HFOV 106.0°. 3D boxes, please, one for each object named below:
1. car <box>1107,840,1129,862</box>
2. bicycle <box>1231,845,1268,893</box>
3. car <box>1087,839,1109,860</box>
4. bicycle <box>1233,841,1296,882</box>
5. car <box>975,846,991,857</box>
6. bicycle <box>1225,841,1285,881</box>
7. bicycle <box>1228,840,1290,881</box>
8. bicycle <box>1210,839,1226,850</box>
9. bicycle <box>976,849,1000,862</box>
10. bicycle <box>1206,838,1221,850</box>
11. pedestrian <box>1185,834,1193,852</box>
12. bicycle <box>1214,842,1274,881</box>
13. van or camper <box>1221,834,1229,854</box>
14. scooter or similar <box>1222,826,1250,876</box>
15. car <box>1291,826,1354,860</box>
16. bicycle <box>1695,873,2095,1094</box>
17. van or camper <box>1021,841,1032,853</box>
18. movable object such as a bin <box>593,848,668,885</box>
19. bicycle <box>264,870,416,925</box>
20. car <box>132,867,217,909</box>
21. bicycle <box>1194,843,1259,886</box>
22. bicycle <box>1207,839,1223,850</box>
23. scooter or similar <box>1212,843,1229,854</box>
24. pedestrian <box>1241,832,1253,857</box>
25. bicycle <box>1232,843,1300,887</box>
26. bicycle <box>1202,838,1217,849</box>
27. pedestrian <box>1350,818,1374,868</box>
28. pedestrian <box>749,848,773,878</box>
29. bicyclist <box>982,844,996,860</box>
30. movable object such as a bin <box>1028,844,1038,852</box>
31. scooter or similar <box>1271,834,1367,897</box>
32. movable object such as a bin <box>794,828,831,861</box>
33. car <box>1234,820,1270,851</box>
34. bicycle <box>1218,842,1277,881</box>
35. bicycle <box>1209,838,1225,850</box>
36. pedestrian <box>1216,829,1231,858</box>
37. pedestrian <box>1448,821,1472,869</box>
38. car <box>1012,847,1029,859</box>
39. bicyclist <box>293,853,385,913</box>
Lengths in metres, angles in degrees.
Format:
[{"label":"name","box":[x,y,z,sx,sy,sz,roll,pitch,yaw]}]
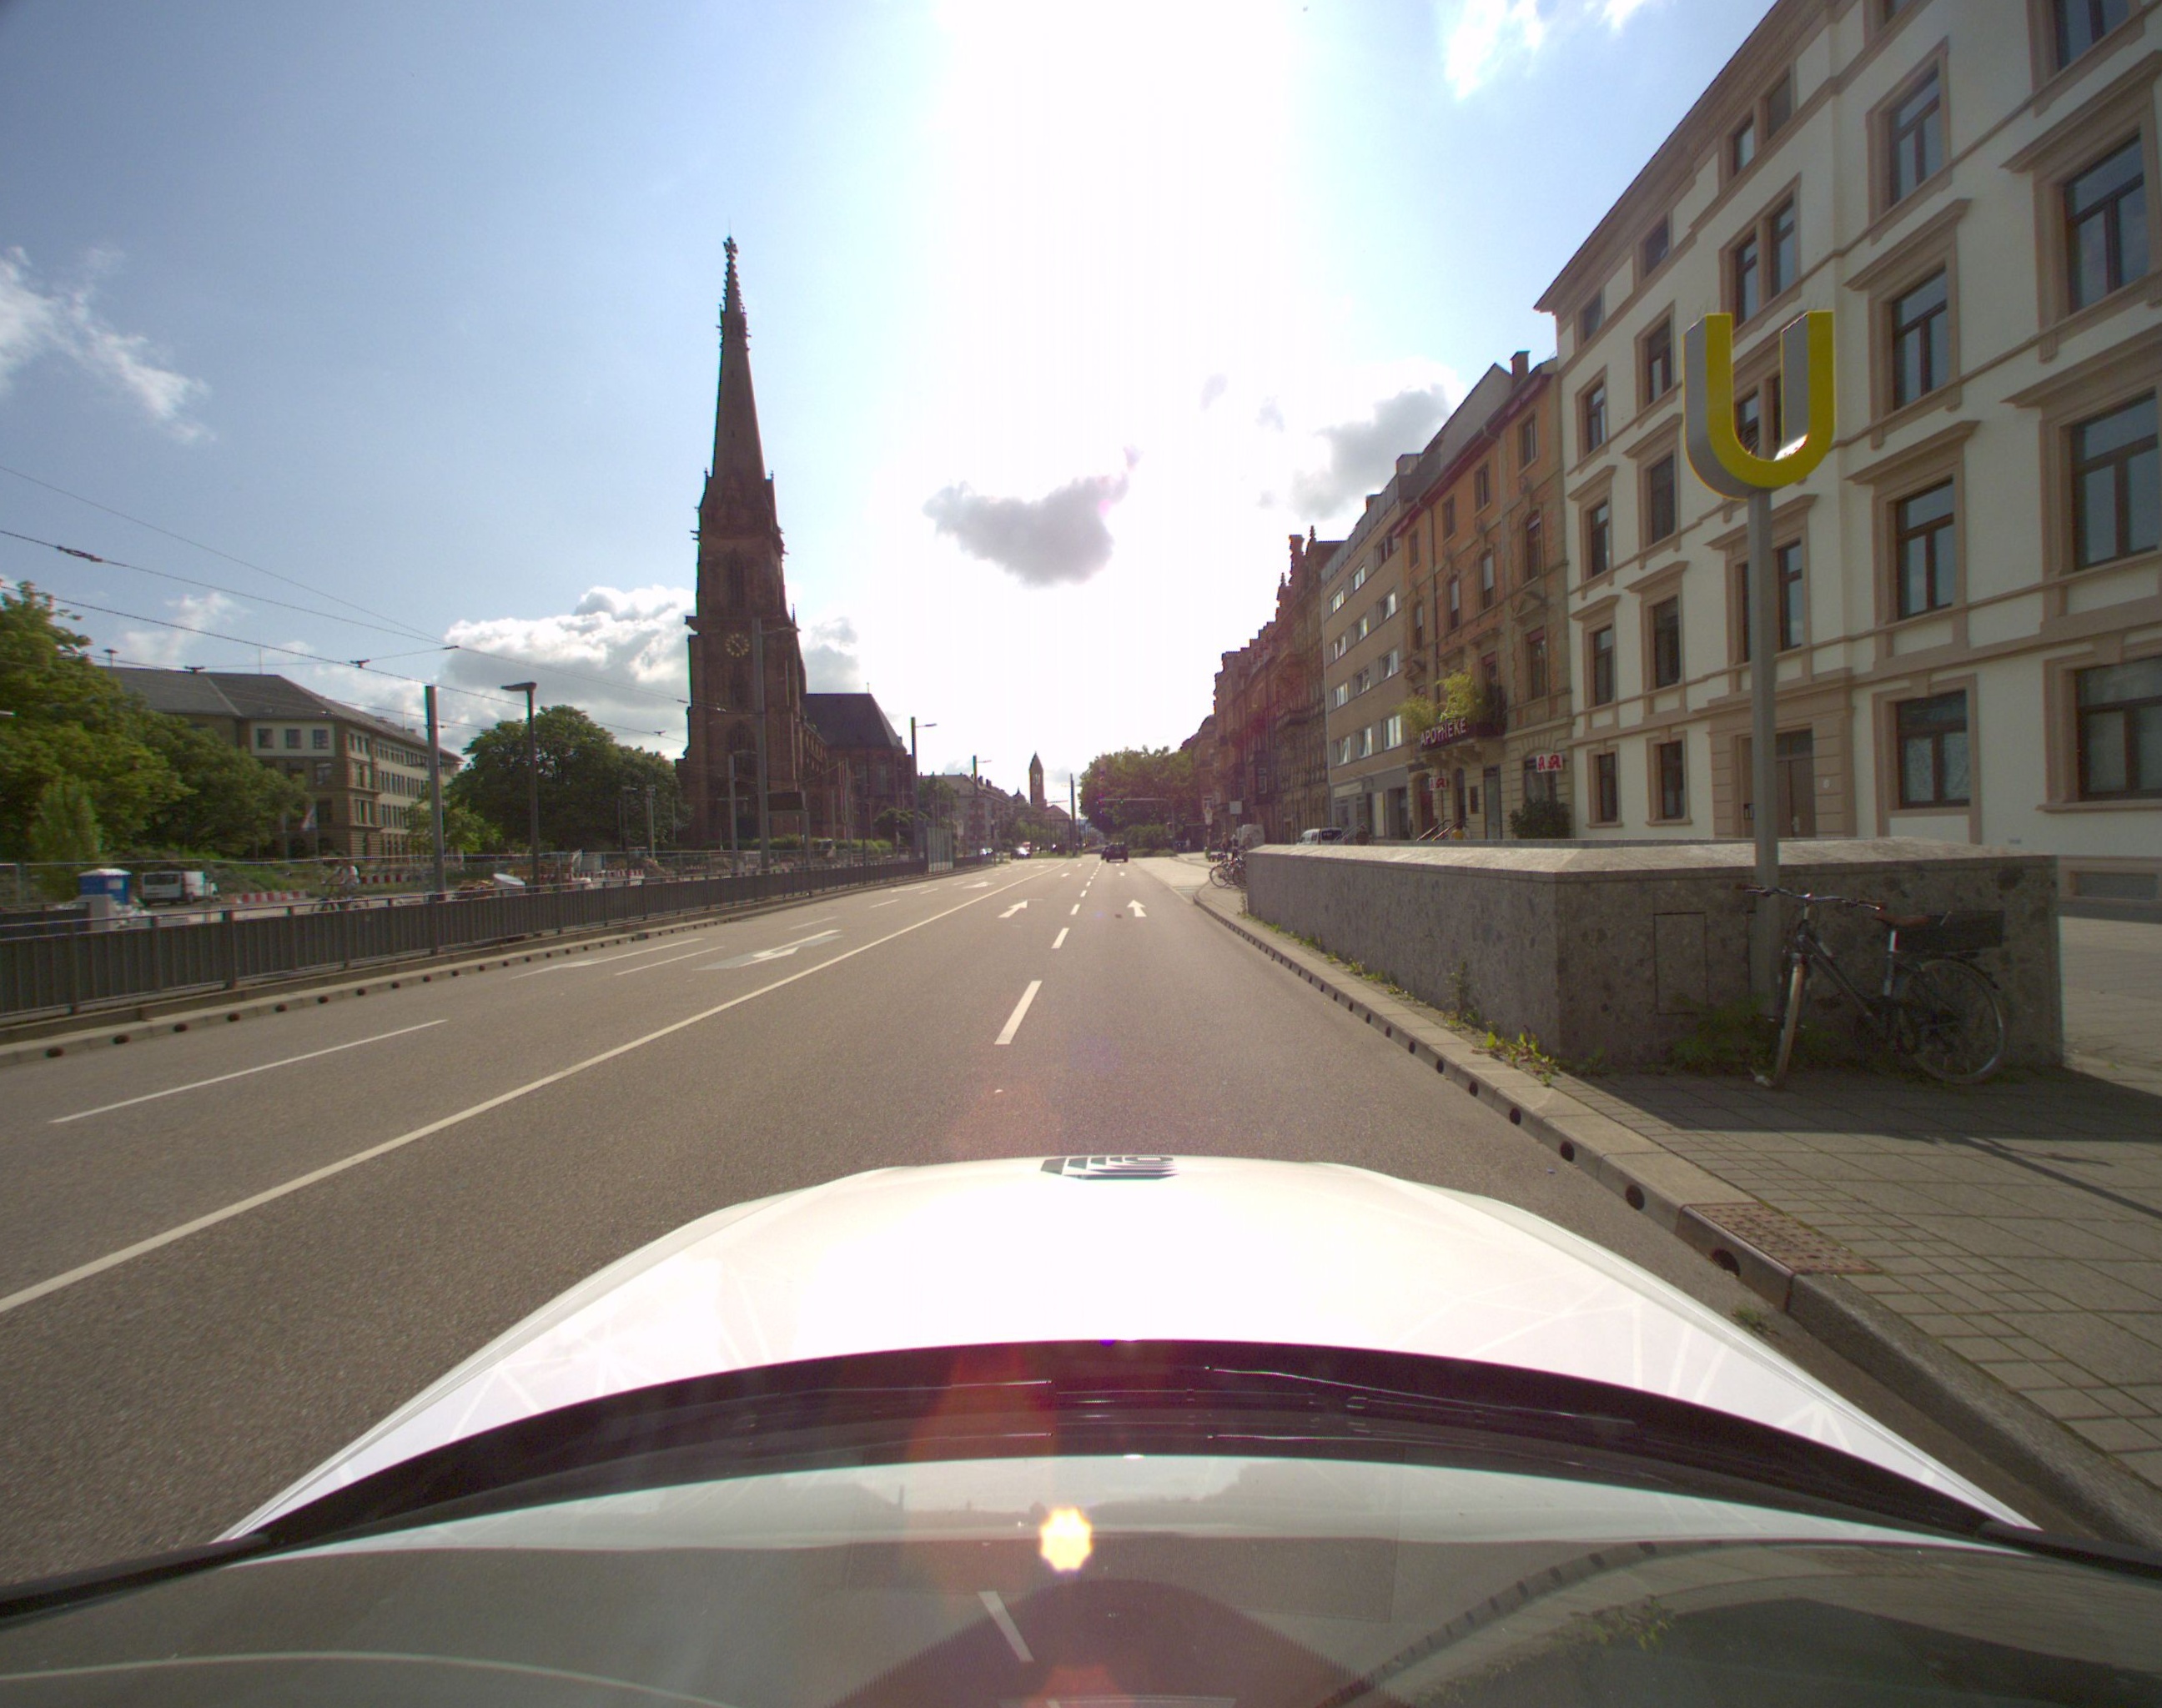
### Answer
[{"label":"car","box":[3.142,-0.287,69.667,1.683,1.711,3.610,-2,3,0]},{"label":"bicycle","box":[4.744,0.396,23.074,0.439,1.237,1.927,-2,3,-6]},{"label":"car","box":[1.718,-0.431,81.943,1.988,2.013,3.999,-3,0,-1]},{"label":"bicycle","box":[5.904,0.232,26.144,1.923,1.237,0.440,-3,3,-9]},{"label":"car","box":[-15.288,-0.397,127.217,1.812,1.552,4.559,-2,0,-1]},{"label":"bicycle","box":[5.826,0.227,27.294,1.923,1.237,0.440,-3,3,-9]},{"label":"bicycle","box":[5.843,0.207,26.697,1.923,1.237,0.440,-3,3,-9]},{"label":"bicycle","box":[15.745,-1.101,93.742,1.760,1.267,0.467,-2,2,5]},{"label":"bicycle","box":[-8.560,0.152,75.080,2.005,1.126,0.934,-2,0,12]},{"label":"bicycle","box":[15.593,-1.167,95.778,1.760,1.267,0.467,-2,2,5]},{"label":"pedestrian","box":[12.474,-1.253,94.437,0.765,2.013,0.716,-3,0,2]},{"label":"bicycle","box":[5.663,0.254,28.329,1.978,1.237,0.440,-3,3,-10]},{"label":"van or camper","box":[15.383,-1.073,86.726,0.663,2.013,0.638,-3,0,2]},{"label":"scooter or similar","box":[5.678,-0.111,29.900,0.397,1.786,1.532,-3,0,-11]},{"label":"car","box":[14.056,-0.609,47.741,1.989,1.862,4.747,-2,0,-3]},{"label":"bicycle","box":[4.587,0.707,4.668,1.627,1.095,0.613,2,3,-1]},{"label":"van or camper","box":[-13.506,-1.734,201.344,2.249,2.737,6.199,-2,0,-2]},{"label":"movable object such as a bin","box":[-38.769,1.027,70.129,5.130,2.911,1.996,-2,0,-6]},{"label":"bicycle","box":[-22.531,1.270,24.957,1.189,1.427,3.693,-2,1,0]},{"label":"car","box":[-54.158,1.957,48.785,1.947,2.137,4.601,-3,2,-29]},{"label":"bicycle","box":[4.543,0.324,25.391,1.925,1.237,0.439,-3,3,-12]},{"label":"bicycle","box":[15.600,-1.125,95.051,1.760,1.267,0.467,-2,2,5]},{"label":"scooter or similar","box":[15.648,-0.616,91.083,1.762,1.185,0.467,-4,0,2]},{"label":"pedestrian","box":[12.458,-0.710,61.174,0.661,1.836,0.693,-3,0,-4]},{"label":"bicycle","box":[5.521,0.318,24.379,1.915,1.237,0.442,-2,2,3]},{"label":"bicycle","box":[15.552,-1.255,98.301,1.760,1.267,0.467,-2,2,5]},{"label":"pedestrian","box":[12.170,-0.488,35.288,0.718,2.098,0.787,-2,2,2]},{"label":"pedestrian","box":[-21.806,0.607,55.587,1.060,2.013,1.052,-3,0,5]},{"label":"bicyclist","box":[-8.481,-0.183,75.114,1.082,1.436,0.827,-2,0,12]},{"label":"movable object such as a bin","box":[-12.241,-1.580,207.629,2.207,1.693,3.704,-3,3,-11]},{"label":"scooter or similar","box":[6.232,0.305,21.380,2.312,1.545,0.699,-2,3,7]},{"label":"movable object such as a bin","box":[-27.744,-1.018,84.251,1.983,3.105,4.008,-2,3,6]},{"label":"car","box":[14.643,-1.586,70.134,1.986,2.525,5.892,-2,1,2]},{"label":"bicycle","box":[5.671,0.240,27.804,1.924,1.237,0.440,-3,3,-11]},{"label":"bicycle","box":[15.787,-1.138,94.337,1.737,1.267,0.467,-2,2,5]},{"label":"pedestrian","box":[9.313,-0.679,53.341,0.664,1.903,0.691,-3,0,-17]},{"label":"pedestrian","box":[13.638,-0.321,29.342,0.576,1.697,0.613,-2,2,2]},{"label":"car","box":[-7.654,-0.122,103.946,1.911,1.417,3.739,-2,0,-2]},{"label":"bicyclist","box":[-22.561,0.858,24.811,1.174,1.683,1.684,-2,0,0]}]
